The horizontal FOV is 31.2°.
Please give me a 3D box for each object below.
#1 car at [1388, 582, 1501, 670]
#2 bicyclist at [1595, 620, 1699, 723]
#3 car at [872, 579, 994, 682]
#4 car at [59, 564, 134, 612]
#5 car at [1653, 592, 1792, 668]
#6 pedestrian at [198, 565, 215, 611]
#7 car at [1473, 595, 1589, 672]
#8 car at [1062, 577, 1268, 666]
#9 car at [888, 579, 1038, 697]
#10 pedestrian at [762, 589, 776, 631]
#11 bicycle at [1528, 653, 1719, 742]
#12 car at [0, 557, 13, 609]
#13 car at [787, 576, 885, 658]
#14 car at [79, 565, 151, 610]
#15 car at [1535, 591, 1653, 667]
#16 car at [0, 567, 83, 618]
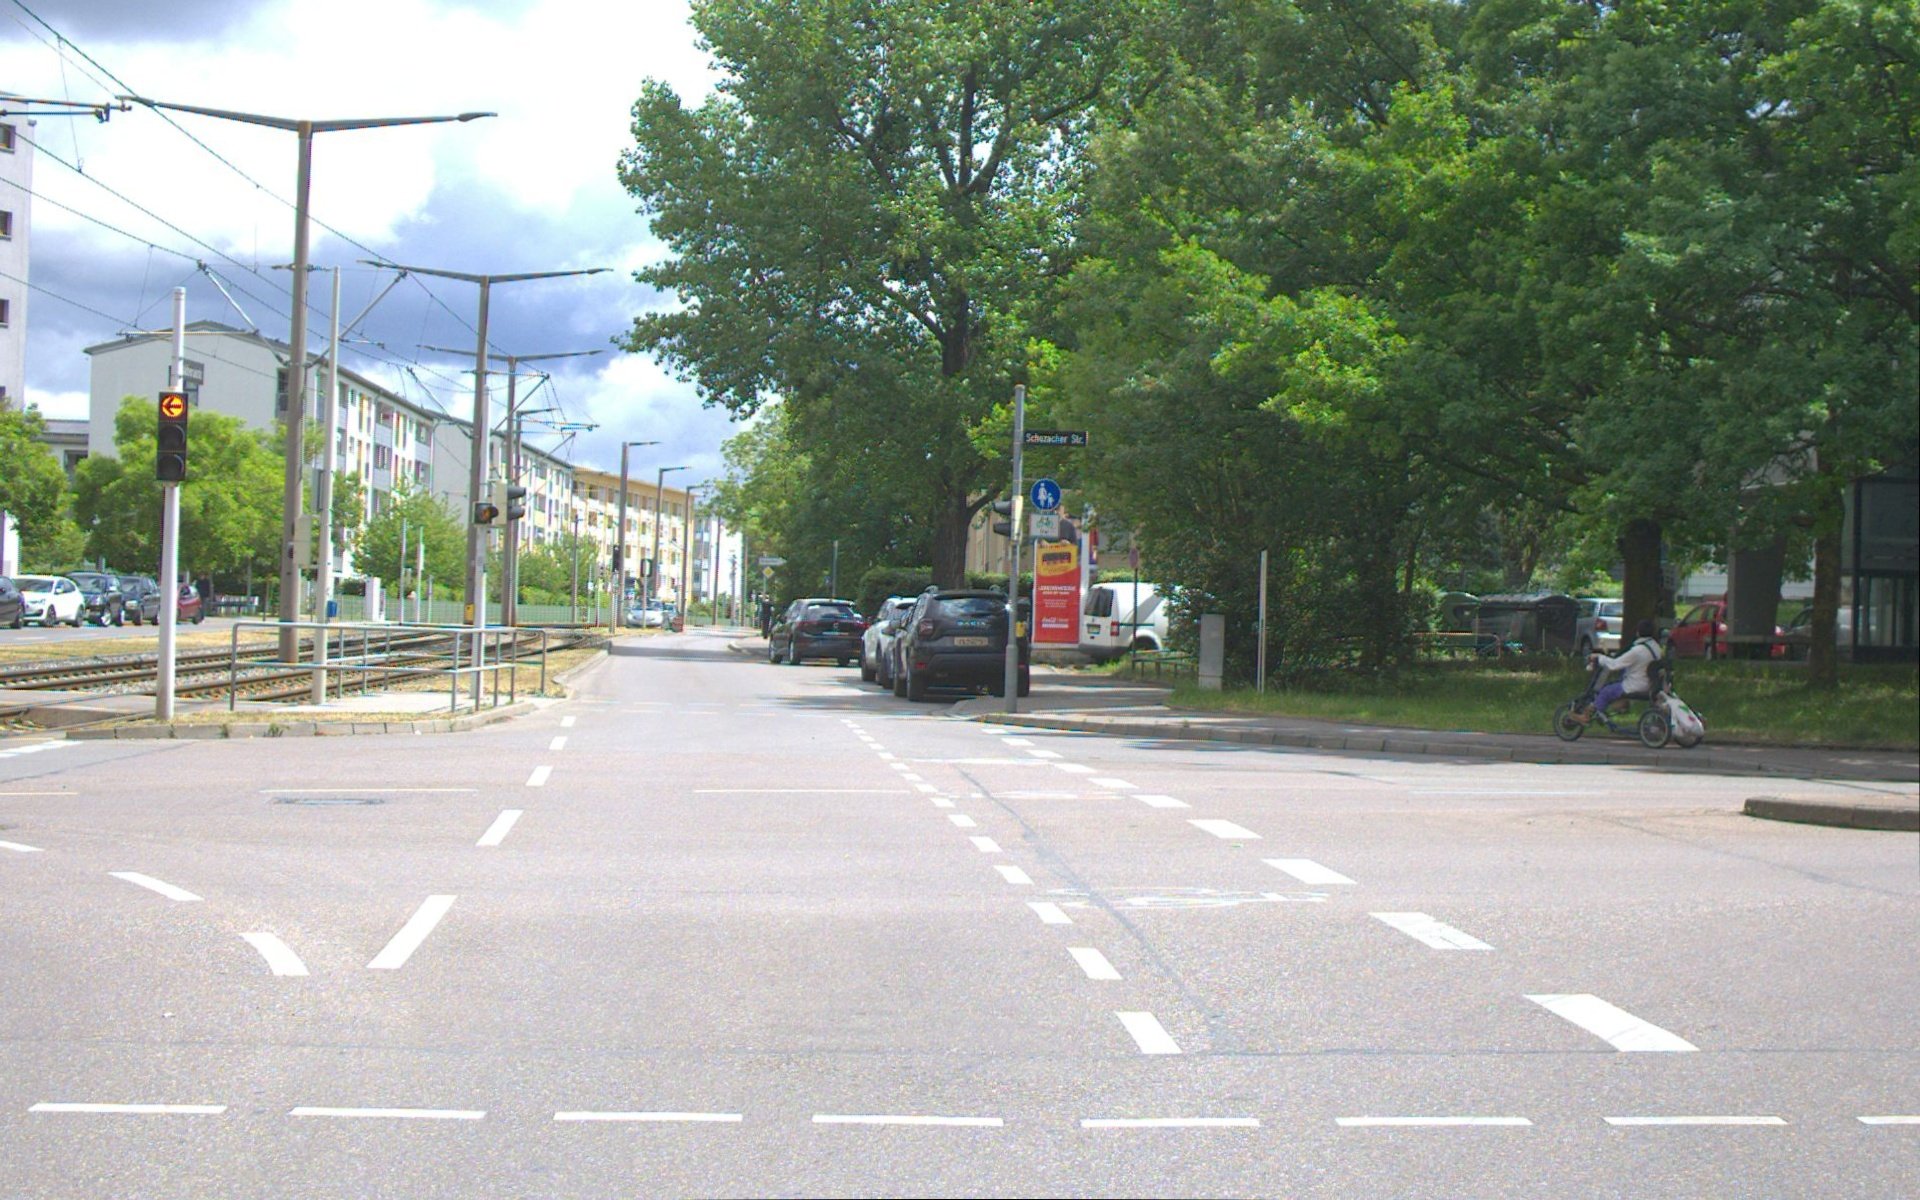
[{"bbox_3d":[10.508,0.546,74.757,1.630,1.804,4.033,1,1,-4],"label":"car"},{"bbox_3d":[6.986,0.724,34.957,0.791,1.019,0.636,1,1,-36],"label":"bicyclist"},{"bbox_3d":[-0.468,0.523,59.264,1.993,1.678,4.000,1,0,-1],"label":"car"},{"bbox_3d":[-26.374,-0.368,105.093,1.760,1.390,4.001,1,1,-7],"label":"car"},{"bbox_3d":[17.058,0.657,77.037,1.730,1.589,4.001,1,1,-8],"label":"car"},{"bbox_3d":[-27.059,-0.446,123.492,0.453,1.631,0.480,1,1,4],"label":"pedestrian"},{"bbox_3d":[12.470,0.711,75.285,1.630,1.567,4.033,1,1,-4],"label":"car"},{"bbox_3d":[4.369,0.450,73.341,3.986,1.817,1.779,1,1,-23],"label":"car"},{"bbox_3d":[0.022,0.560,51.818,2.152,1.678,4.000,1,0,-1],"label":"car"},{"bbox_3d":[-7.503,0.384,135.185,0.478,1.631,0.454,1,1,-1],"label":"pedestrian"},{"bbox_3d":[6.757,0.981,35.067,0.792,0.816,1.807,1,1,-39],"label":"bicycle"},{"bbox_3d":[-26.298,-0.463,91.056,1.760,1.390,4.001,1,1,-7],"label":"car"},{"bbox_3d":[-2.668,0.348,74.510,1.993,1.678,4.000,1,1,-1],"label":"car"},{"bbox_3d":[-26.931,-0.414,109.657,1.760,1.390,4.001,1,1,-7],"label":"car"},{"bbox_3d":[14.093,0.621,76.580,1.630,1.589,4.001,1,1,-4],"label":"car"},{"bbox_3d":[-26.297,-0.226,98.501,1.760,1.390,4.001,1,1,-7],"label":"car"}]
